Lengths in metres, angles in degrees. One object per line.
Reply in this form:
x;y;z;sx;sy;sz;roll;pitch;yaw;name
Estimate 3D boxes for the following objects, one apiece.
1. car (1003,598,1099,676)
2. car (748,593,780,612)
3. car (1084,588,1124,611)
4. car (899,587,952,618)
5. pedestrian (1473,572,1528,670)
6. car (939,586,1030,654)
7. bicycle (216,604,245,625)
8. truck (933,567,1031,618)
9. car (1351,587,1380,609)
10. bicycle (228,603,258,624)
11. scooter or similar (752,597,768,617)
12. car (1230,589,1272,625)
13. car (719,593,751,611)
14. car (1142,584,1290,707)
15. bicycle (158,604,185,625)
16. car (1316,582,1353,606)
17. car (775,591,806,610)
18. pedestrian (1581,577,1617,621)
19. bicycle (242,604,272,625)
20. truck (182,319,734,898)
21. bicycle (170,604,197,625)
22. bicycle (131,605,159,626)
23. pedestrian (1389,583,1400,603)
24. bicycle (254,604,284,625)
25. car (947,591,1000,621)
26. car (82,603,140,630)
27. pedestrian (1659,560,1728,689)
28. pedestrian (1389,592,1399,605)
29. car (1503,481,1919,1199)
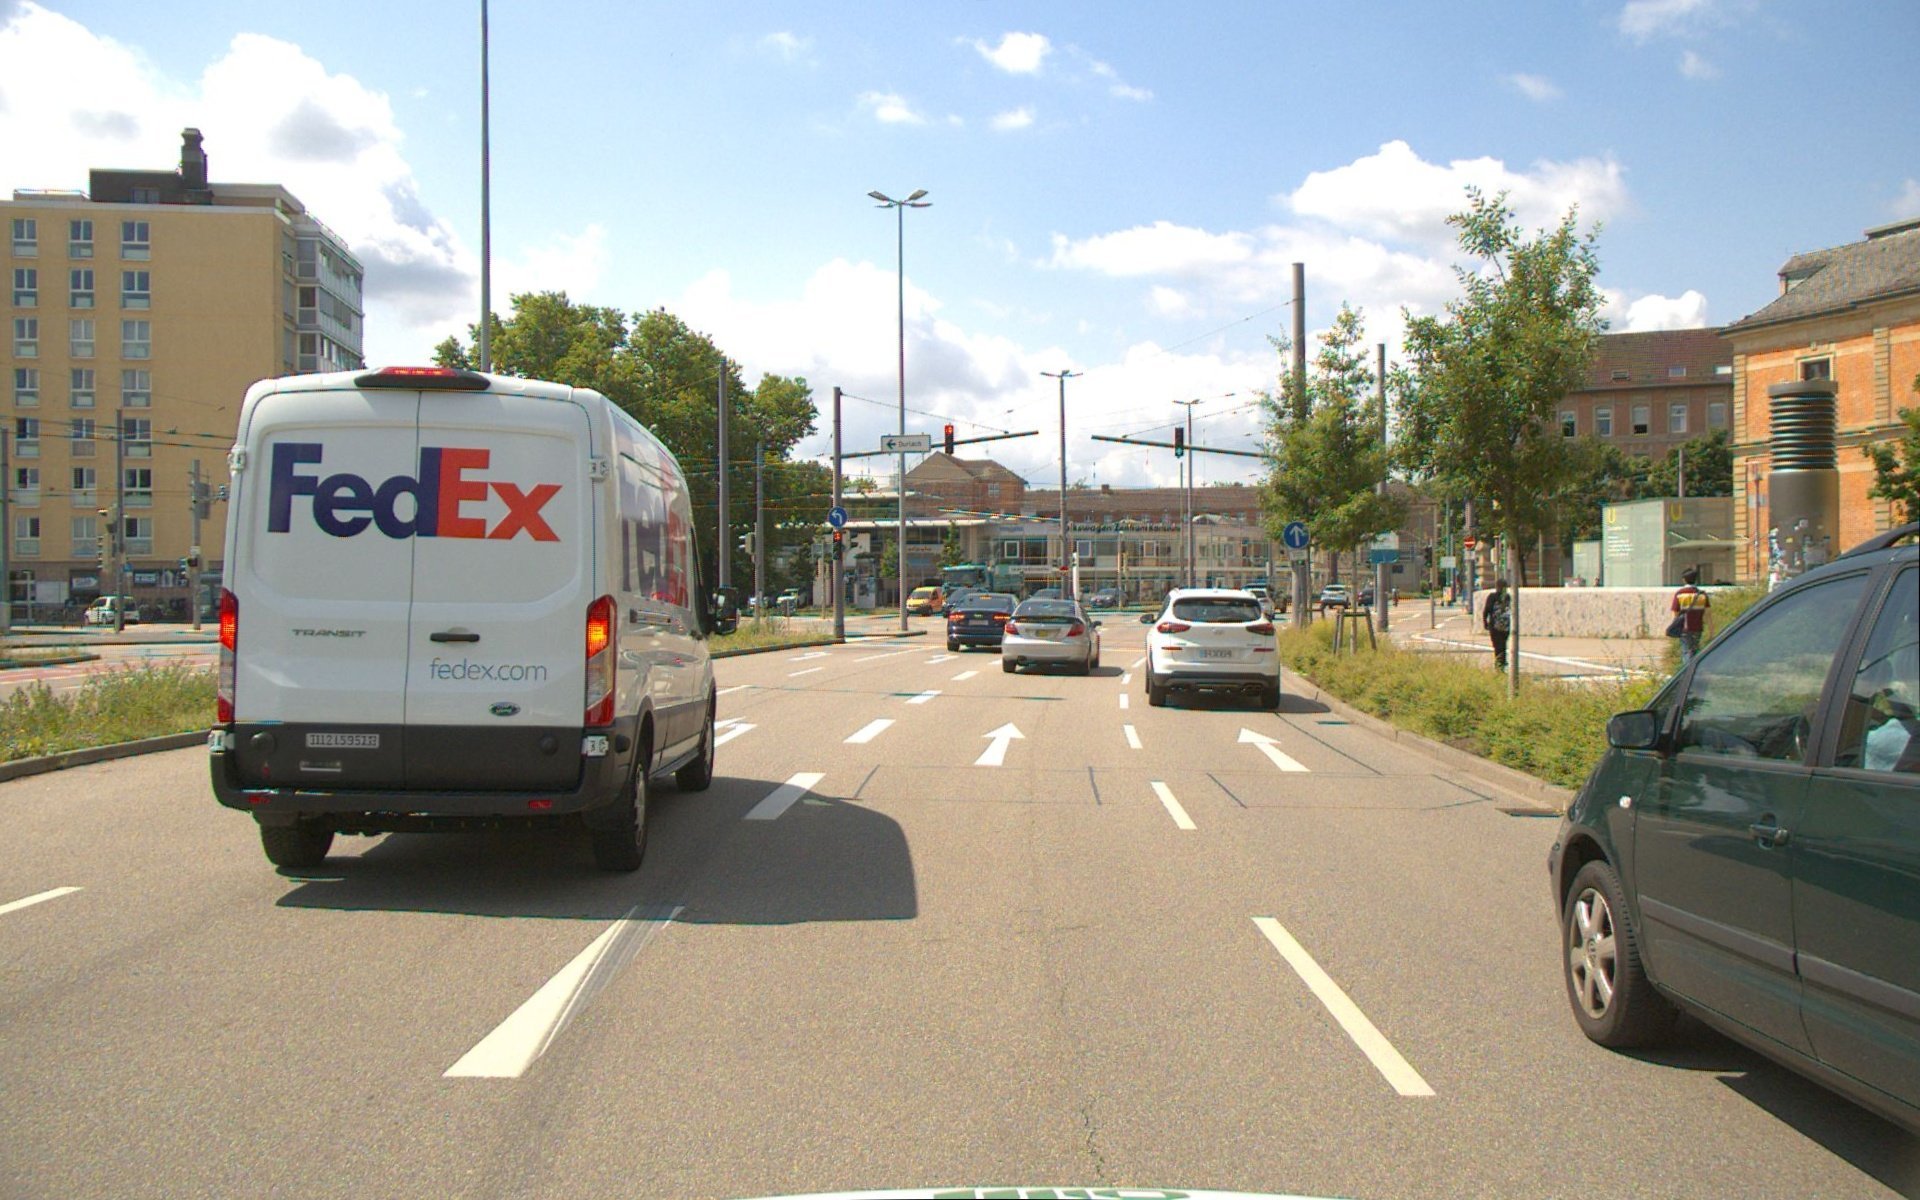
1.874;0.691;32.886;1.704;1.416;4.182;0;0;6;car
-17.390;0.214;146.711;1.951;1.601;4.180;1;-1;5;car
10.357;-0.051;118.957;1.683;1.558;4.120;0;0;23;car
-2.131;0.140;103.600;1.682;1.832;4.741;-1;0;21;car
9.100;0.356;27.858;0.740;1.617;0.762;1;-1;7;pedestrian
0.697;0.471;43.033;1.887;1.670;4.796;0;0;6;car
-41.000;0.809;92.928;2.091;1.167;0.510;0;-1;36;bicycle
1.442;-0.476;99.409;2.827;2.902;8.791;0;0;23;truck
31.206;-0.185;127.297;1.842;1.670;3.958;0;0;19;car
-40.435;0.782;93.261;2.091;1.167;0.510;0;-1;36;bicycle
-11.680;0.400;96.527;0.370;1.135;1.094;0;-1;27;scooter or similar
13.794;0.317;78.295;1.841;1.670;3.960;0;0;11;car
-19.986;0.186;146.984;1.951;1.601;4.180;1;-1;5;car
3.730;0.611;24.732;1.841;1.670;4.235;0;0;4;car
-44.124;0.799;92.526;2.094;1.167;0.509;0;-1;39;bicycle
26.073;-0.413;115.157;1.843;1.670;3.956;0;0;23;car
-14.982;0.024;146.174;1.951;1.601;4.180;1;-1;5;car
25.831;-0.038;66.839;0.952;1.686;0.857;-2;-2;-25;pedestrian
-39.770;0.794;93.573;2.092;1.167;0.531;0;-1;36;bicycle
-2.740;0.063;10.701;2.095;2.686;5.912;1;0;-4;truck
-43.587;0.802;92.802;2.094;1.167;0.509;0;-1;39;bicycle
-45.503;0.857;92.339;2.094;1.167;0.509;0;-1;39;bicycle
31.750;-0.528;120.972;0.678;1.483;0.679;0;-1;23;pedestrian
-39.245;0.806;93.954;2.091;1.167;0.510;0;-1;36;bicycle
0.753;0.305;88.014;1.618;1.494;4.155;0;0;18;car
-43.398;0.828;84.544;3.299;1.344;1.647;0;0;44;car
10.687;0.355;24.122;0.740;1.853;0.674;1;-1;5;pedestrian
31.752;-0.124;120.942;0.514;0.922;1.560;0;-1;23;pedestrian
3.062;0.629;4.277;1.758;1.753;4.447;2;0;-1;car
